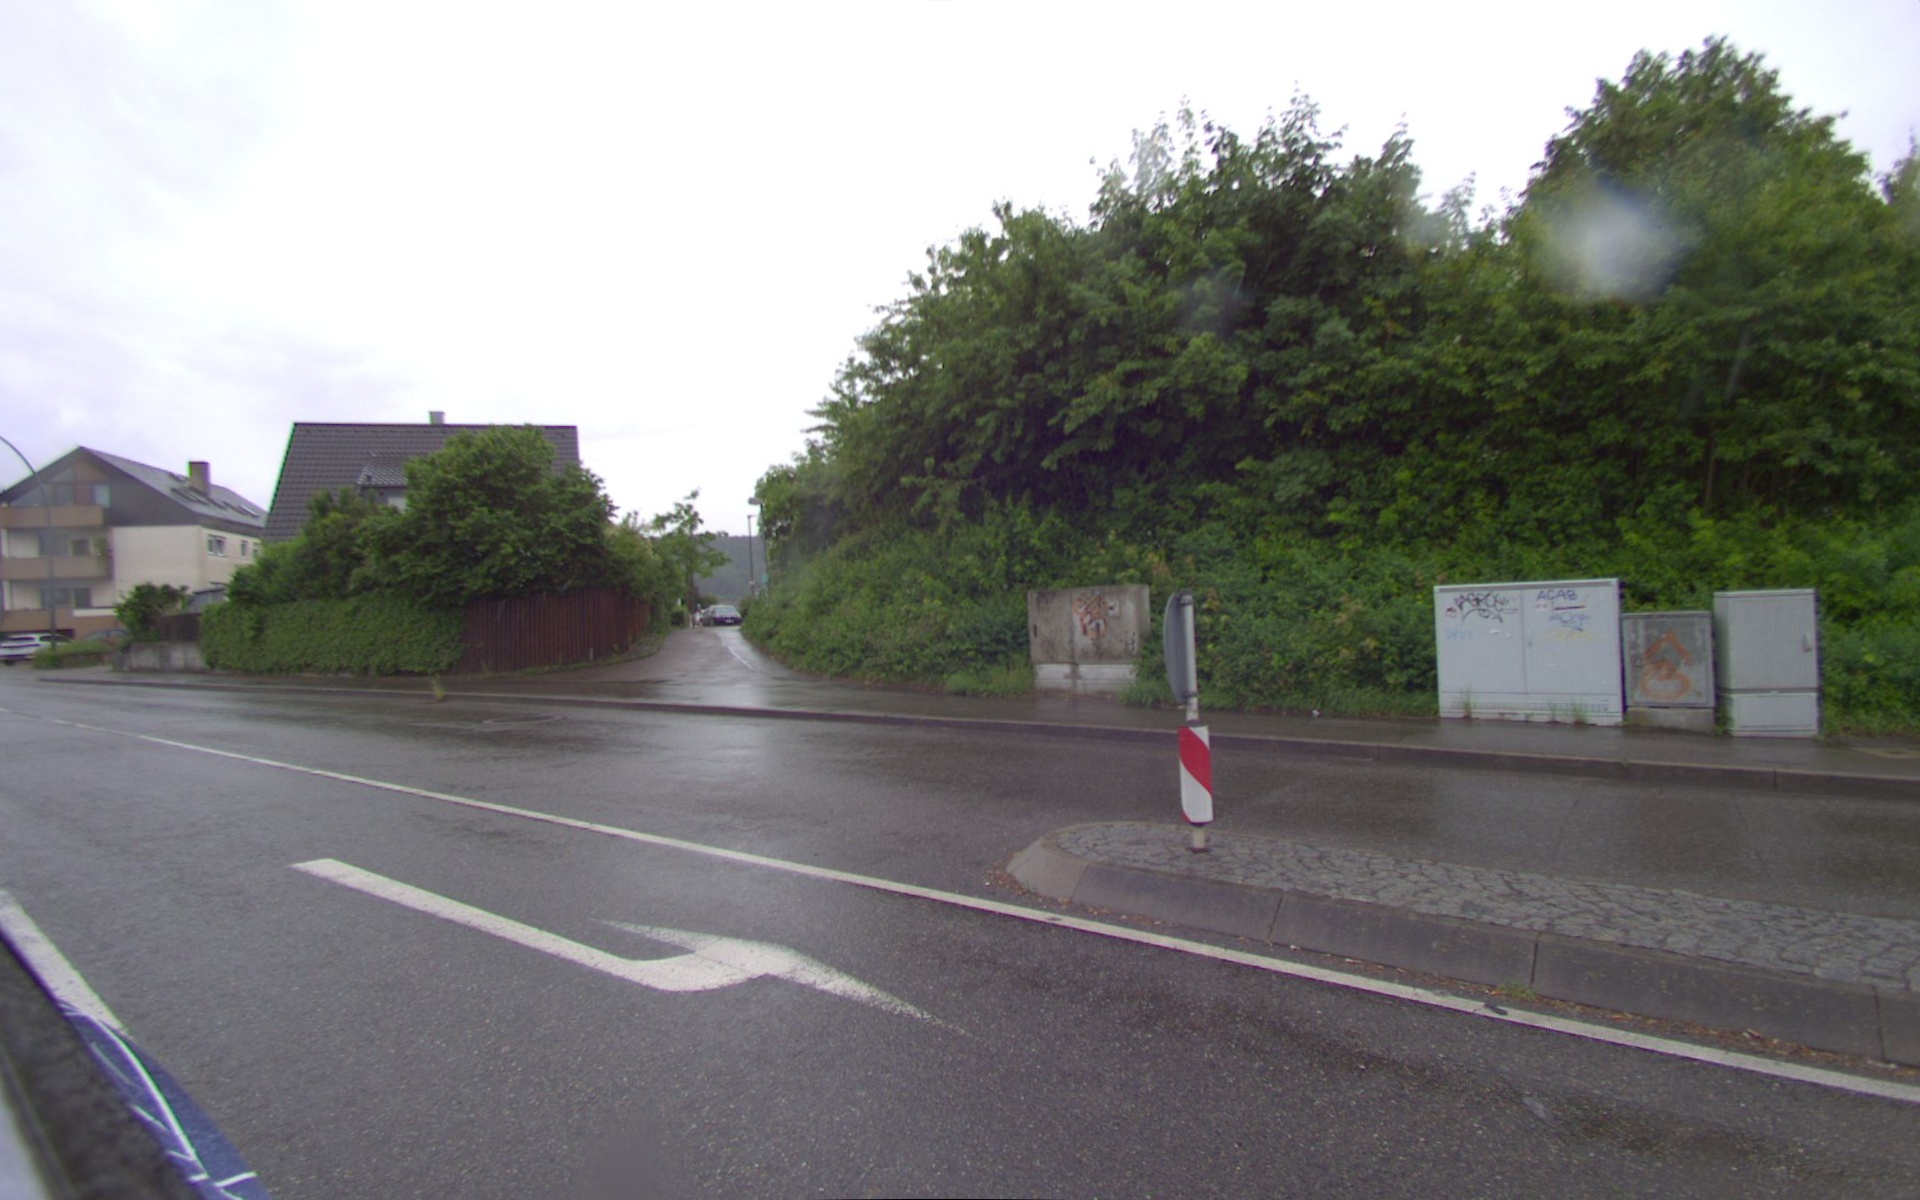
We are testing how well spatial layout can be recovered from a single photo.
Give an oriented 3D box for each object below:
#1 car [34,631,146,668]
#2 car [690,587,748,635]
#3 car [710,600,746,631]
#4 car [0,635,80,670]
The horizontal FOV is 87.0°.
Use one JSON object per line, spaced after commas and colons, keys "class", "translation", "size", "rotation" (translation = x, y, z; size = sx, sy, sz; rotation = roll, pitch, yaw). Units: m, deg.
{"class": "car", "translation": [-41.225, 2.328, 48.040], "size": [3.609, 1.530, 1.759], "rotation": [-2, 0, -15]}
{"class": "car", "translation": [-8.669, 0.374, 36.664], "size": [1.683, 1.600, 3.668], "rotation": [-1, 0, -8]}
{"class": "car", "translation": [-15.036, 1.000, 65.794], "size": [1.968, 1.873, 4.008], "rotation": [-2, 0, -9]}
{"class": "car", "translation": [-46.279, 2.611, 50.715], "size": [1.837, 1.530, 4.012], "rotation": [-2, 0, -18]}
